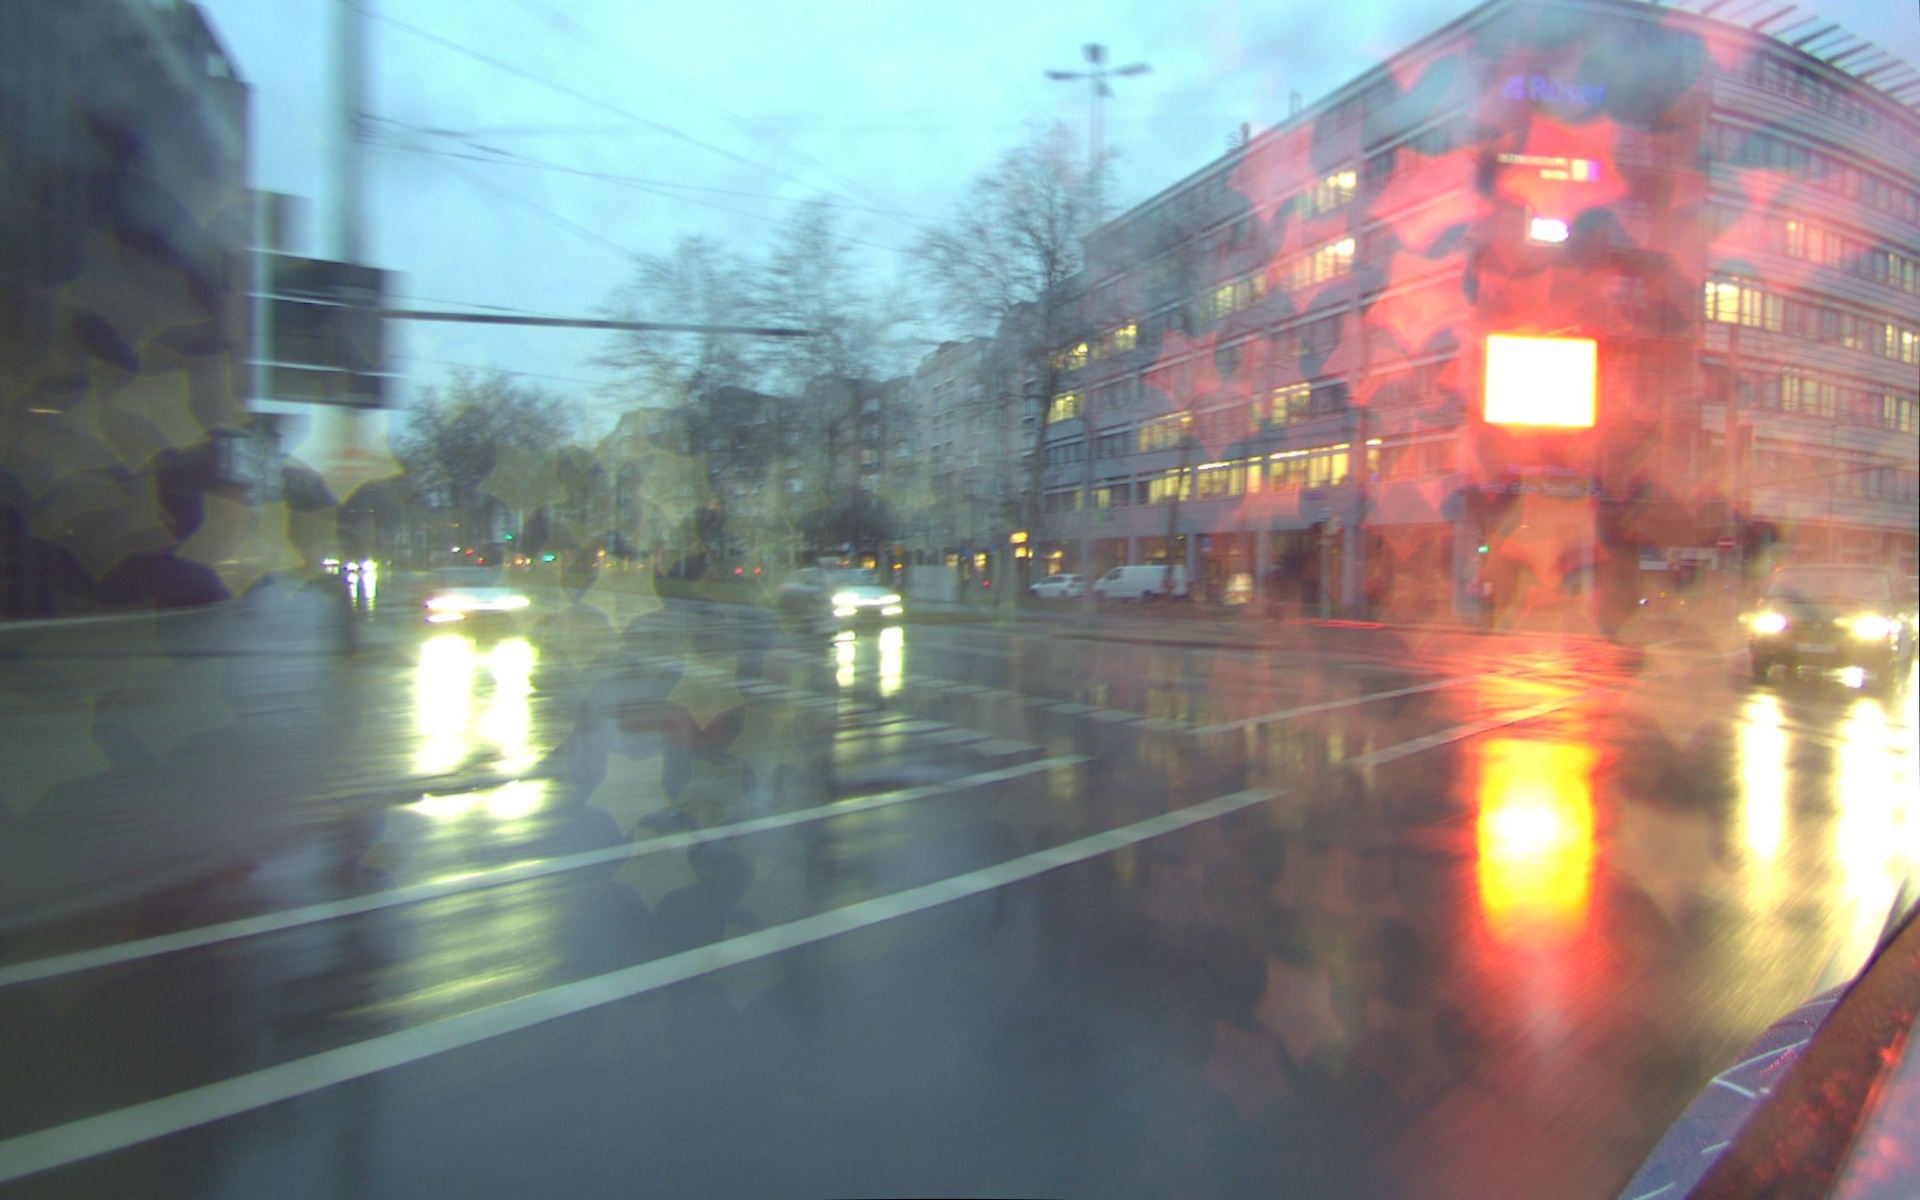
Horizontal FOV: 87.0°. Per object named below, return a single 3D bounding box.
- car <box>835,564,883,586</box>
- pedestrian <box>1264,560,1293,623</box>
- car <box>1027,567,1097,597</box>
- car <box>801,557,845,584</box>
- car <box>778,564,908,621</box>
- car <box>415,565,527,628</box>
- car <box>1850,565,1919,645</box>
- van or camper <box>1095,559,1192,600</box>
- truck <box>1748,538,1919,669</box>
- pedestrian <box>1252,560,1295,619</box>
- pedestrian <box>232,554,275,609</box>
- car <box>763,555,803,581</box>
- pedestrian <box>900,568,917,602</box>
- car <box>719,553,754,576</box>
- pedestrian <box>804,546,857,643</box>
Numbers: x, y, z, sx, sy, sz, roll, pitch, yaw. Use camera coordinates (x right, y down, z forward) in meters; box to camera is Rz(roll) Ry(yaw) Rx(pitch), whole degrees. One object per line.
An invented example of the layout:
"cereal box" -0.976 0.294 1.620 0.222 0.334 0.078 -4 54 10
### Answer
"car" -7.260 -1.824 72.537 1.807 1.450 4.004 0 3 -32
"pedestrian" 9.516 -0.265 30.225 0.790 1.833 0.647 1 1 19
"car" 5.471 -0.974 54.656 1.612 1.547 3.843 0 1 -36
"car" -10.479 -2.262 77.154 1.807 1.974 4.004 0 3 -32
"car" -3.197 -0.245 27.028 1.780 1.357 3.996 0 2 -34
"car" -11.594 -0.129 23.860 1.780 1.326 3.995 0 2 -35
"car" 23.920 0.121 24.610 4.593 1.842 1.913 0 0 -28
"van or camper" 8.975 -1.028 49.841 1.807 1.953 4.747 0 1 -36
"truck" 15.075 0.052 17.230 4.538 1.941 1.907 0 0 -43
"pedestrian" 9.898 -0.348 31.980 1.132 1.809 0.776 1 1 7
"pedestrian" -18.547 -0.482 26.580 0.721 1.406 0.741 1 1 -16
"car" -14.392 -2.628 82.053 1.807 1.974 4.004 0 3 -32
"pedestrian" -2.125 -0.628 42.095 0.469 1.381 0.608 0 1 -29
"car" -19.974 -3.165 90.402 1.807 1.974 4.004 0 3 -32
"pedestrian" -2.503 -0.117 19.542 0.722 1.809 0.735 0 2 -41
